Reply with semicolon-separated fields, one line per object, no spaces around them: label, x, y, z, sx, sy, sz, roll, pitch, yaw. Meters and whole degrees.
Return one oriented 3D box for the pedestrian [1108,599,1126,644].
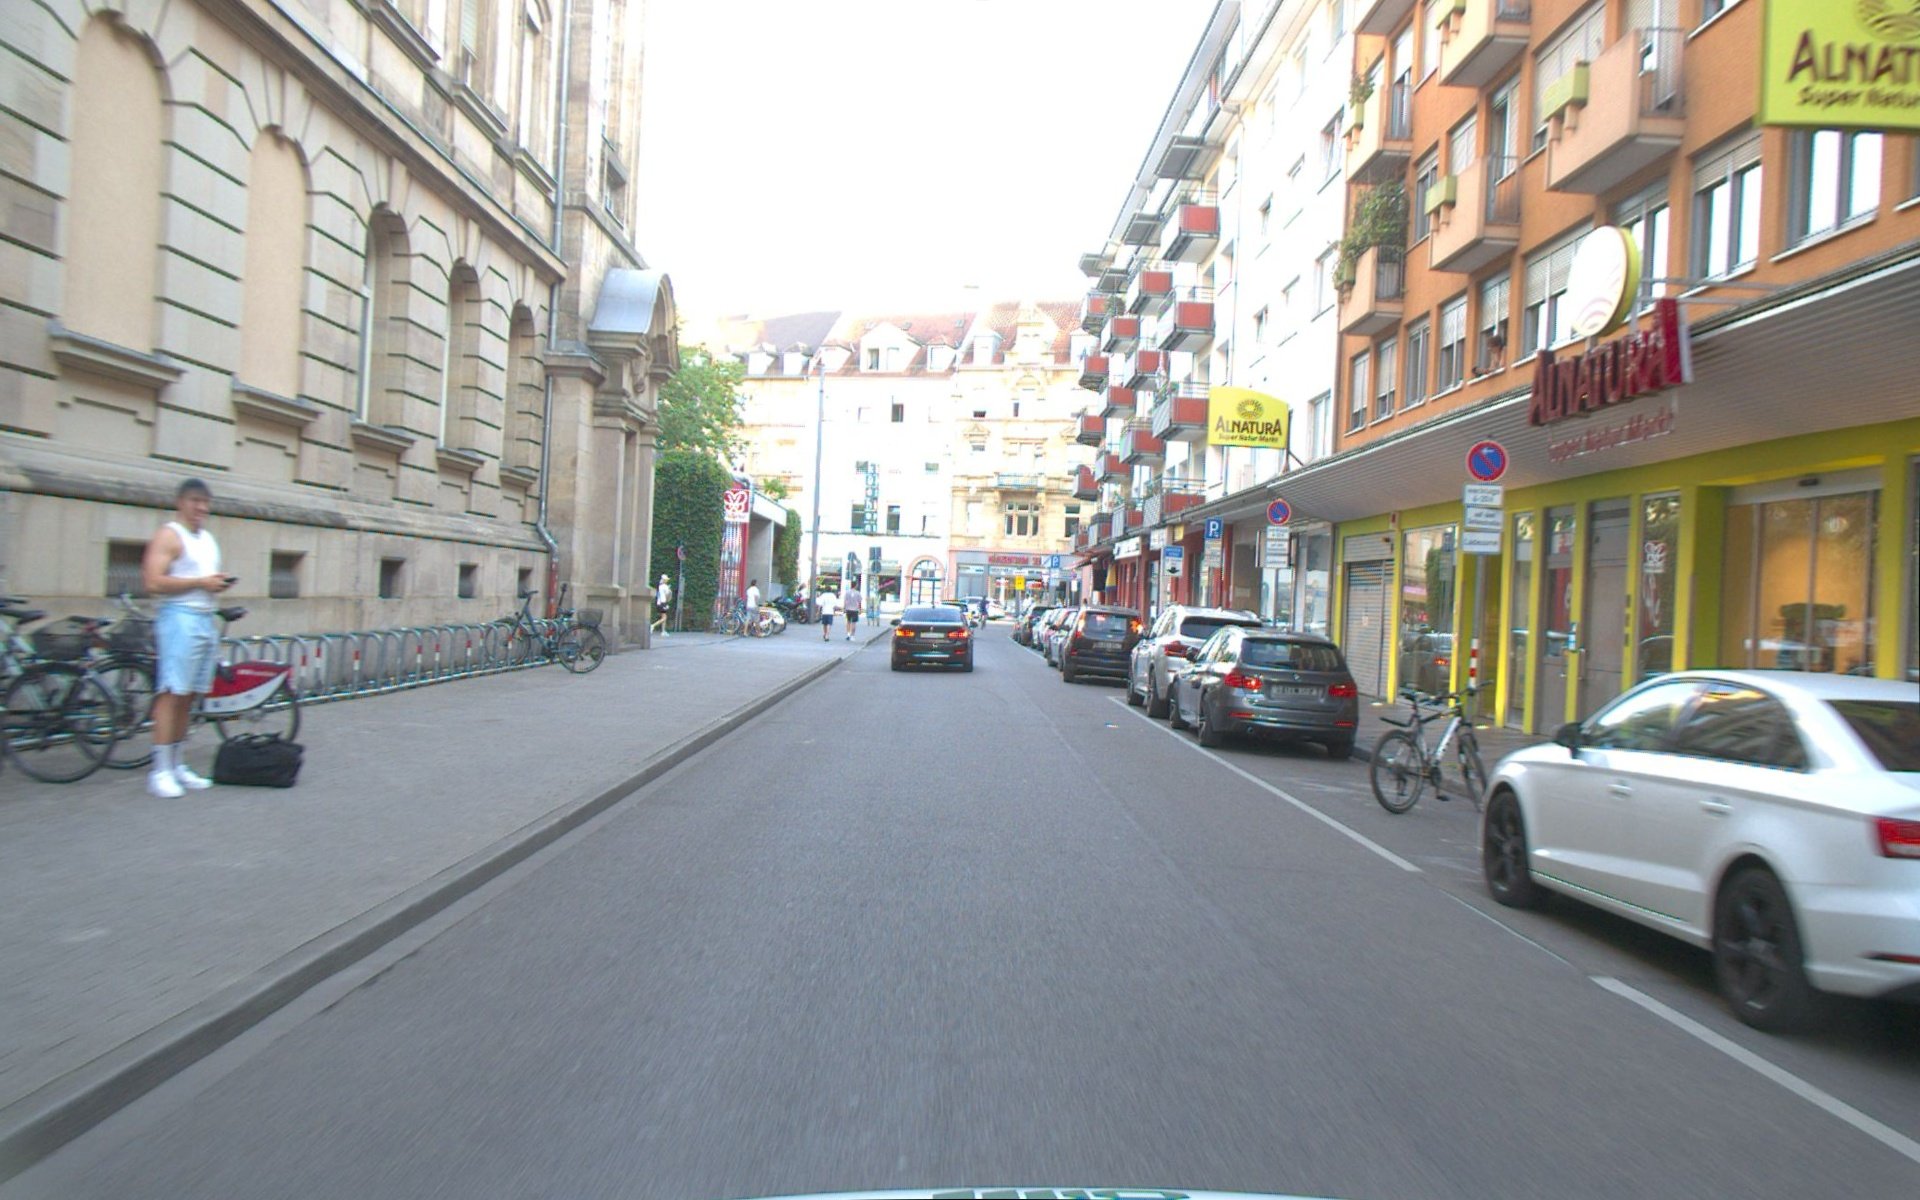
pedestrian;6.028;0.825;63.515;0.634;1.690;0.794;-1;0;1

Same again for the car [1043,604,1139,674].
car;3.138;0.905;40.484;1.702;1.439;4.680;5;0;-2

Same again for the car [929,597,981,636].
car;-0.188;0.642;67.190;1.838;1.498;4.002;2;0;3

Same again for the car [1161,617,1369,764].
car;3.707;1.034;20.901;1.657;1.439;4.756;5;0;0

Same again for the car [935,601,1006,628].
car;0.711;0.970;108.649;4.263;1.589;1.868;2;-1;22

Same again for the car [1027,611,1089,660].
car;3.399;1.210;58.062;1.665;1.477;4.457;5;0;-2

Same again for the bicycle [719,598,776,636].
bicycle;-6.919;0.552;53.959;1.758;1.127;0.500;3;0;-2

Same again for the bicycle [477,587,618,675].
bicycle;-6.143;0.463;24.671;1.906;1.079;0.617;7;-2;-16

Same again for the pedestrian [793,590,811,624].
pedestrian;-8.362;0.358;87.483;0.661;1.776;0.654;2;0;39

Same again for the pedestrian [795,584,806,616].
pedestrian;-8.290;-0.010;85.924;0.490;1.672;0.521;2;0;1

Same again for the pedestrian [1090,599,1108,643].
pedestrian;5.325;0.800;63.501;0.634;1.690;0.655;-1;0;1

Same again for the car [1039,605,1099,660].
car;3.450;0.999;52.885;1.574;1.538;4.048;5;0;0

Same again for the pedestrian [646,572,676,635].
pedestrian;-8.737;0.105;48.336;0.636;1.780;0.985;3;0;-1

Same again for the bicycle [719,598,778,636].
bicycle;-6.781;0.554;53.080;1.758;1.127;0.500;3;0;-1

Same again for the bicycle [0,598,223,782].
bicycle;-5.930;0.558;10.765;1.900;1.080;0.619;4;-1;-7

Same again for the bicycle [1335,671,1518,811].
bicycle;3.996;1.186;14.093;1.723;1.074;0.649;4;-1;-43

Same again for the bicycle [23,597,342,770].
bicycle;-5.517;0.589;11.814;1.899;1.080;0.619;4;-1;-3

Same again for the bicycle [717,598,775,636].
bicycle;-6.911;0.546;53.424;1.758;1.127;0.500;3;0;-2

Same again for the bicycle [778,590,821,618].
bicycle;-7.016;0.179;72.411;1.757;1.127;0.500;4;0;1

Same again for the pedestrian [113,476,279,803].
pedestrian;-4.636;0.232;10.082;0.577;1.883;0.753;4;0;-6

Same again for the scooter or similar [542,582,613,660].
scooter or similar;-6.570;0.355;28.452;1.113;1.254;0.495;4;0;-13

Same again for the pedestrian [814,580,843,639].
pedestrian;-4.264;0.303;53.733;0.726;1.844;1.008;4;0;-1

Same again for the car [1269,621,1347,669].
car;11.067;1.404;52.802;1.704;1.360;4.001;2;0;1

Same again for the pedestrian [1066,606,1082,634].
pedestrian;5.416;0.966;78.327;0.672;1.309;0.609;1;-1;9

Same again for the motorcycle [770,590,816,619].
motorcycle;-7.111;0.192;70.382;1.765;1.082;0.764;4;0;25

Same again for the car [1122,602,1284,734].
car;3.690;0.967;25.869;1.717;1.697;4.756;5;0;0

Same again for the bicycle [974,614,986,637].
bicycle;1.034;1.302;85.815;0.525;1.127;1.800;3;0;1

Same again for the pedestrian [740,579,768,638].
pedestrian;-6.439;0.271;51.746;0.702;1.785;0.848;2;0;-2

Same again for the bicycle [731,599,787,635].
bicycle;-6.754;0.565;55.602;1.757;1.127;0.500;3;0;2

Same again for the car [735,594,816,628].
car;-9.248;0.555;82.645;3.913;1.527;1.888;2;0;-9

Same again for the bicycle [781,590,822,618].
bicycle;-7.003;0.185;73.160;1.760;1.127;0.499;4;0;-6

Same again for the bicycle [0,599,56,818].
bicycle;-5.862;0.512;8.752;1.760;1.127;0.499;4;-1;-7

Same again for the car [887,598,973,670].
car;-0.632;0.717;37.002;1.729;1.399;4.790;3;0;0

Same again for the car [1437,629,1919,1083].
car;3.982;0.987;8.053;1.658;1.435;4.636;5;0;-3

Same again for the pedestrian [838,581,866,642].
pedestrian;-3.527;0.371;54.061;0.729;1.926;1.050;4;0;0

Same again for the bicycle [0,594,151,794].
bicycle;-5.927;0.525;9.951;1.760;1.127;0.499;4;-1;-7

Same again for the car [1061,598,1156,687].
car;3.106;0.845;35.108;1.757;1.637;4.488;5;0;4

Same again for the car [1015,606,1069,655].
car;3.172;1.154;64.596;1.729;1.670;4.790;5;0;-1

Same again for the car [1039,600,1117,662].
car;3.390;0.870;48.351;1.678;1.538;4.650;5;0;-2

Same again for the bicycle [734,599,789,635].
bicycle;-6.745;0.569;56.234;1.757;1.127;0.500;3;0;2

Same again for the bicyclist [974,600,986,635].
bicyclist;1.050;0.898;85.796;0.513;1.787;0.620;3;-1;1
